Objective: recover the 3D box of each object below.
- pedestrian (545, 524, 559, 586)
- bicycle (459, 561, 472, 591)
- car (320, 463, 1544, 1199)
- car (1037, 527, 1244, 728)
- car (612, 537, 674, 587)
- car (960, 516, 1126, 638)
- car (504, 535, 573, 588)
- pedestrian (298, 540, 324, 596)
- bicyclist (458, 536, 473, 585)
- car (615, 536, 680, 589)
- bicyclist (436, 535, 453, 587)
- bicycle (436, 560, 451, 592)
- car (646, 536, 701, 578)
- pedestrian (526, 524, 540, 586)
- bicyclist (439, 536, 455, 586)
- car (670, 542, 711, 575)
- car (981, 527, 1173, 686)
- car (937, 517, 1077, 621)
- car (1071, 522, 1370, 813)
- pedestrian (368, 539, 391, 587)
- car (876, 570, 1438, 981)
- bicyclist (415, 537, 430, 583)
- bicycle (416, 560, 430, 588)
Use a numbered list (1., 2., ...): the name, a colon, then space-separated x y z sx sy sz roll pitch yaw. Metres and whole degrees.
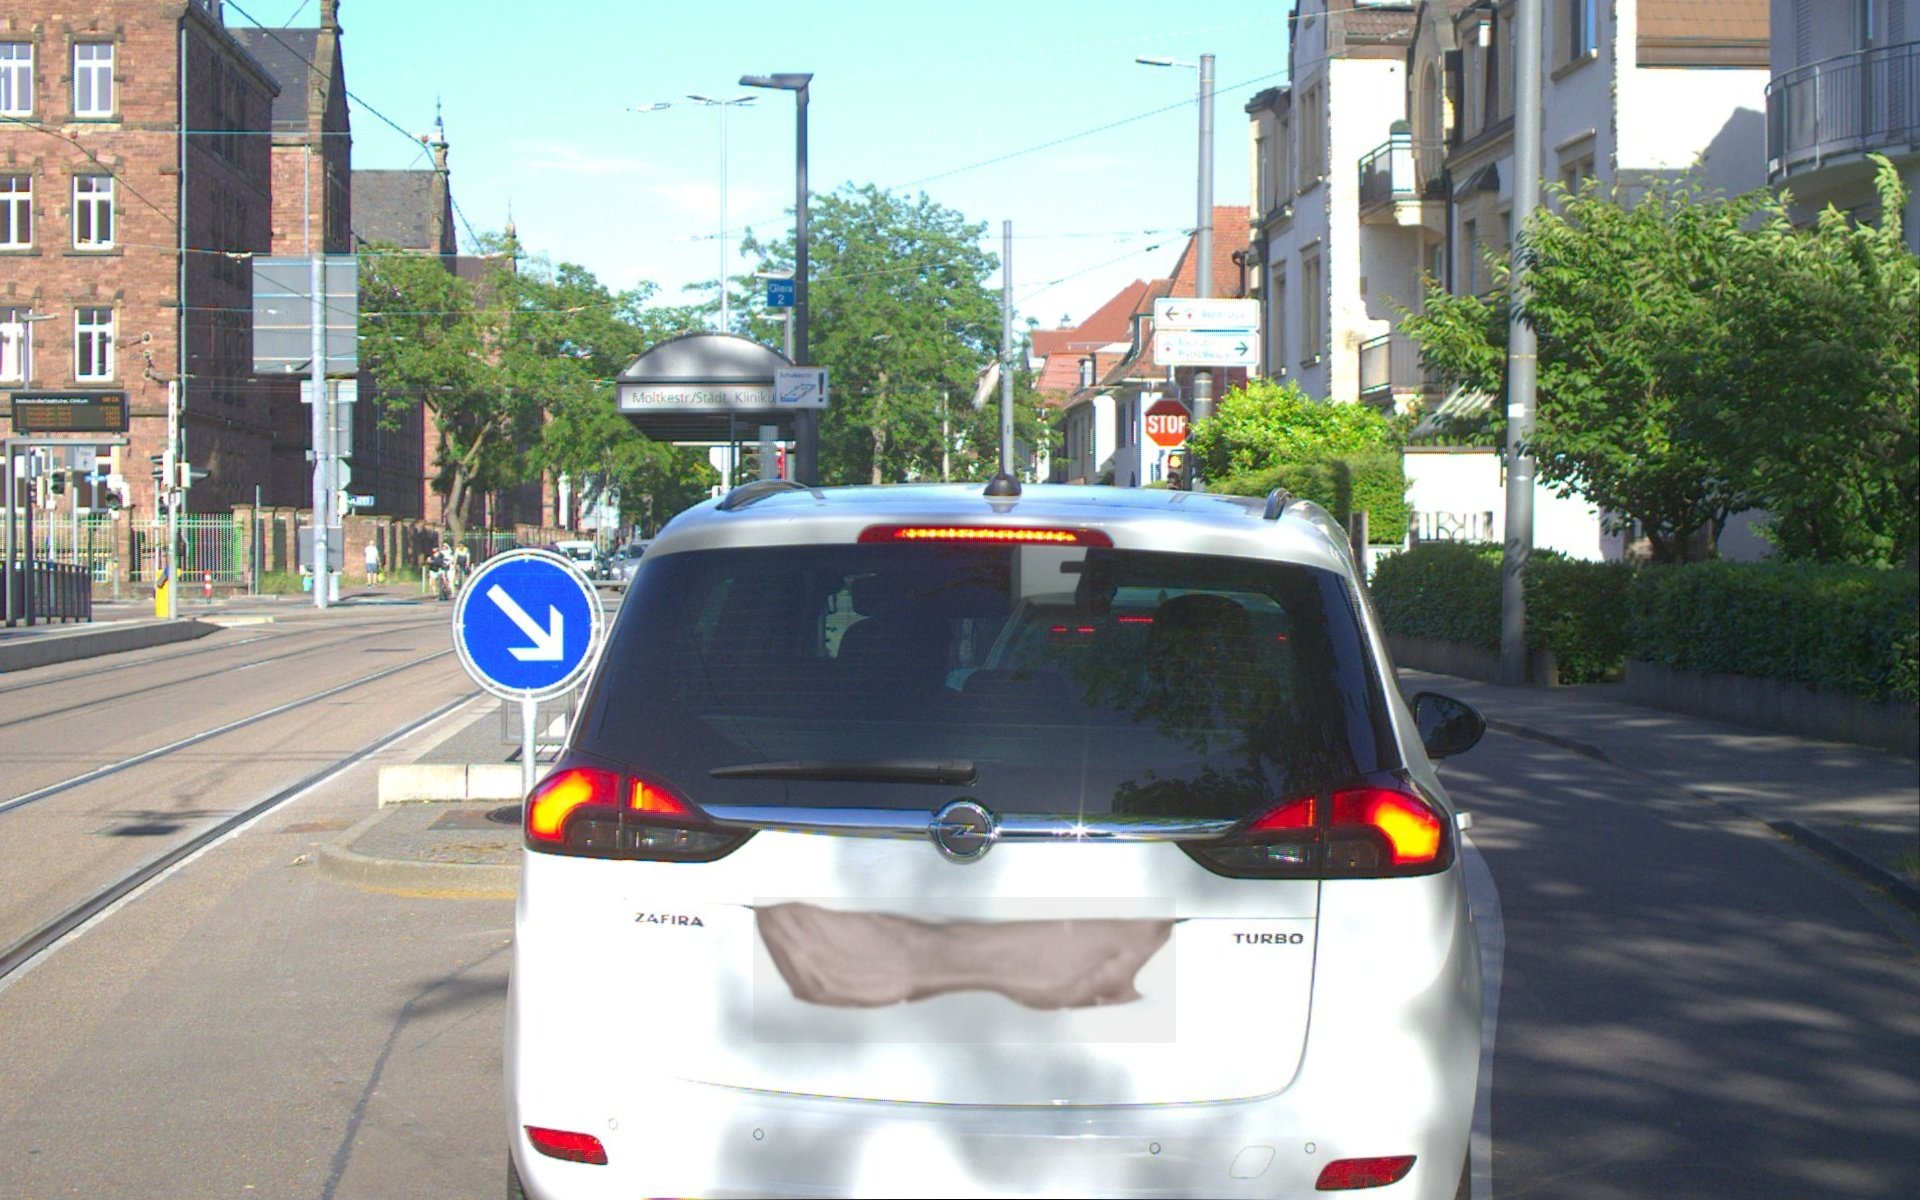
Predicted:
1. pedestrian: -13.314 -1.470 112.250 0.444 2.007 0.496 0 1 -4
2. bicycle: -15.701 -0.777 109.168 0.344 0.946 0.997 1 0 -4
3. car: 0.138 0.587 7.606 1.994 1.639 3.992 1 1 6
4. car: 1.494 0.182 29.260 1.637 1.595 3.854 0 1 2
5. car: -10.536 -1.269 114.420 1.993 1.623 4.001 0 1 -5
6. car: 1.019 -0.316 44.303 1.993 1.497 4.000 0 1 -1
7. car: -13.119 -1.223 107.090 1.993 1.623 4.001 0 1 -5
8. pedestrian: -19.942 -0.991 105.629 0.734 1.708 0.706 1 0 -8
9. bicyclist: -15.692 -1.241 109.153 0.444 1.548 0.496 0 1 -4
10. car: -9.739 -1.187 107.314 1.993 1.623 4.001 0 1 -5
11. bicyclist: -15.477 -1.181 103.286 0.444 1.548 0.743 0 1 -4
12. bicycle: -15.486 -0.712 103.086 0.344 0.946 1.160 1 0 -4
13. car: -11.263 -1.696 135.373 1.993 1.623 4.001 0 1 -2
14. pedestrian: -13.910 -1.475 111.970 0.444 2.007 0.496 0 1 -4
15. bicyclist: -15.896 -1.218 106.568 0.444 1.548 0.496 0 1 -4
16. car: -13.483 -2.106 171.933 1.993 1.623 3.989 0 1 -5
17. car: 1.176 0.028 36.183 1.830 1.574 4.010 0 1 -1
18. car: 0.666 -0.485 51.764 1.993 1.497 4.000 0 1 -1
19. car: 1.493 0.335 20.832 1.637 1.595 3.854 0 1 2
20. pedestrian: -21.121 -1.341 125.082 0.734 1.708 0.754 1 0 -6
21. car: 0.746 0.593 13.986 1.953 1.392 4.000 0 1 2
22. bicyclist: -17.985 -1.334 115.099 0.444 1.548 0.496 0 1 -4
23. bicycle: -17.990 -0.868 115.143 0.344 0.946 0.997 1 0 -4
